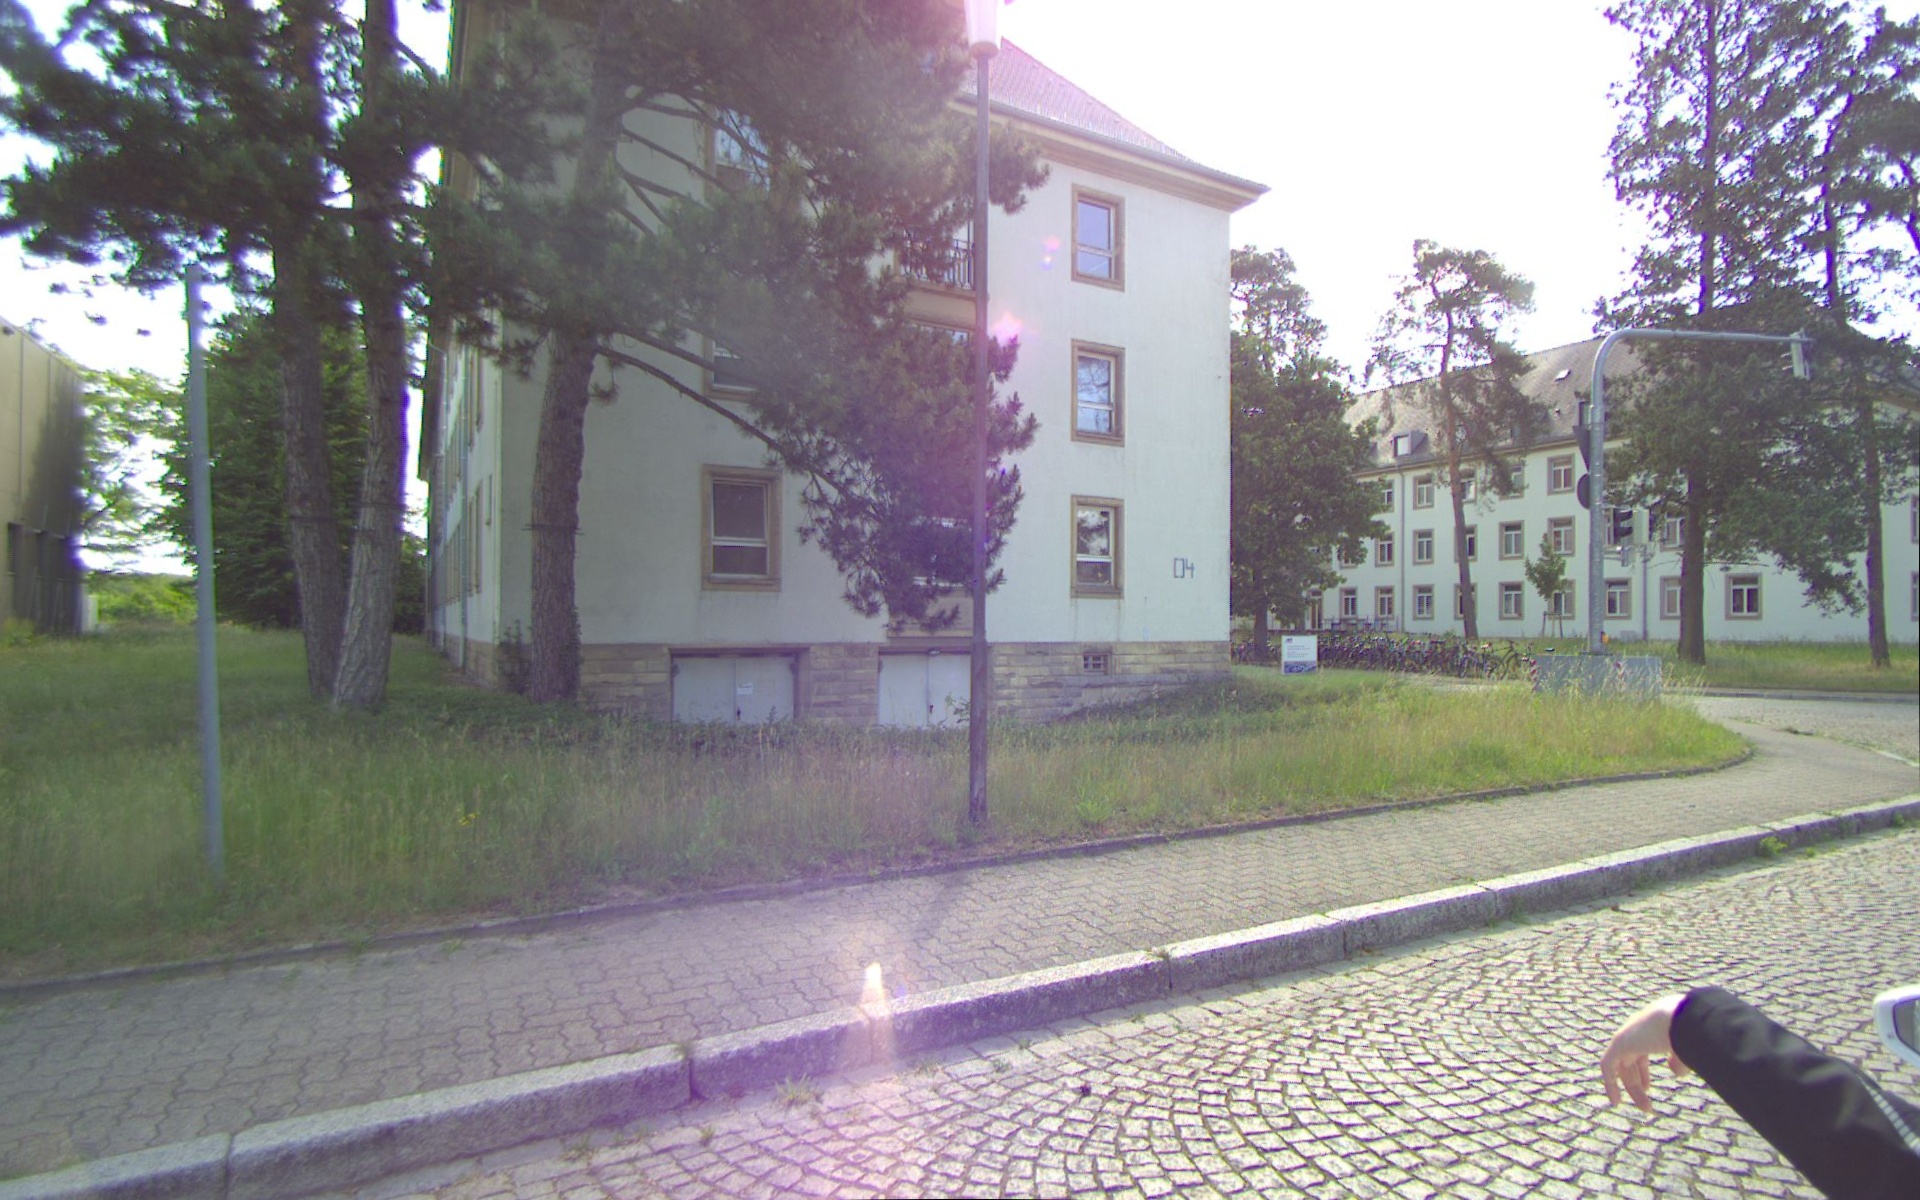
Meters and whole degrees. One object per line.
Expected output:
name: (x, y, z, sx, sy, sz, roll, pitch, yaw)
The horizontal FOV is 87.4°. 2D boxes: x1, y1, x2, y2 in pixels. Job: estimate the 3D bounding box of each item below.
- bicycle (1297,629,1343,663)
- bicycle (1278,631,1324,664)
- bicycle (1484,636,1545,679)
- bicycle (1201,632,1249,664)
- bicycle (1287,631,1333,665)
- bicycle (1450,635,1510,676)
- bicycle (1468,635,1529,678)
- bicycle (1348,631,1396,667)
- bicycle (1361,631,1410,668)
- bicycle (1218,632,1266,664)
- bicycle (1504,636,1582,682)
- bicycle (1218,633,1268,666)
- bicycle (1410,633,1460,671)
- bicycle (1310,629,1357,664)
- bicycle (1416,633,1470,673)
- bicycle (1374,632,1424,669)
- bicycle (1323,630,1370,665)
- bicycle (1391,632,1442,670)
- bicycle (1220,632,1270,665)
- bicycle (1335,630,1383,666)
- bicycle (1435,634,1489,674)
bicycle: (13.278, 1.687, 37.045, 1.914, 1.237, 0.512, 1, -1, -31)
bicycle: (12.845, 1.778, 37.824, 1.914, 1.237, 0.512, 1, -1, -31)
bicycle: (16.538, 1.695, 29.957, 2.089, 1.237, 0.630, 1, -1, -31)
bicycle: (10.504, 1.906, 39.808, 1.792, 1.237, 0.516, 0, -1, 7)
bicycle: (13.055, 1.779, 37.450, 1.914, 1.237, 0.512, 1, -1, -31)
bicycle: (16.007, 1.694, 30.905, 2.080, 1.237, 0.630, 1, -1, -31)
bicycle: (16.295, 1.695, 30.374, 2.099, 1.237, 0.630, 1, -1, -31)
bicycle: (14.366, 1.690, 35.015, 1.931, 1.237, 0.512, 1, -1, -31)
bicycle: (14.650, 1.694, 34.573, 1.954, 1.237, 0.512, 1, -1, -31)
bicycle: (11.302, 1.923, 40.272, 1.792, 1.237, 0.516, 0, -1, 7)
bicycle: (16.504, 1.640, 28.479, 0.627, 1.237, 1.853, 1, -1, -29)
bicycle: (10.760, 1.866, 38.206, 1.794, 1.237, 0.515, 0, -1, 25)
bicycle: (15.746, 1.706, 33.274, 1.877, 1.237, 0.545, 1, -1, -31)
bicycle: (13.585, 1.688, 36.519, 1.914, 1.237, 0.512, 1, -1, -31)
bicycle: (15.665, 1.702, 32.563, 2.005, 1.237, 0.576, 1, -1, -31)
bicycle: (14.907, 1.699, 34.125, 1.954, 1.237, 0.512, 1, -1, -31)
bicycle: (13.858, 1.689, 35.992, 1.914, 1.237, 0.512, 1, -1, -31)
bicycle: (15.262, 1.701, 33.583, 1.992, 1.237, 0.512, 1, -1, -31)
bicycle: (10.999, 1.867, 38.809, 1.794, 1.237, 0.515, 0, -1, 25)
bicycle: (14.105, 1.689, 35.505, 1.914, 1.237, 0.512, 1, -1, -31)
bicycle: (15.919, 1.699, 31.845, 1.966, 1.237, 0.569, 1, -1, -31)
